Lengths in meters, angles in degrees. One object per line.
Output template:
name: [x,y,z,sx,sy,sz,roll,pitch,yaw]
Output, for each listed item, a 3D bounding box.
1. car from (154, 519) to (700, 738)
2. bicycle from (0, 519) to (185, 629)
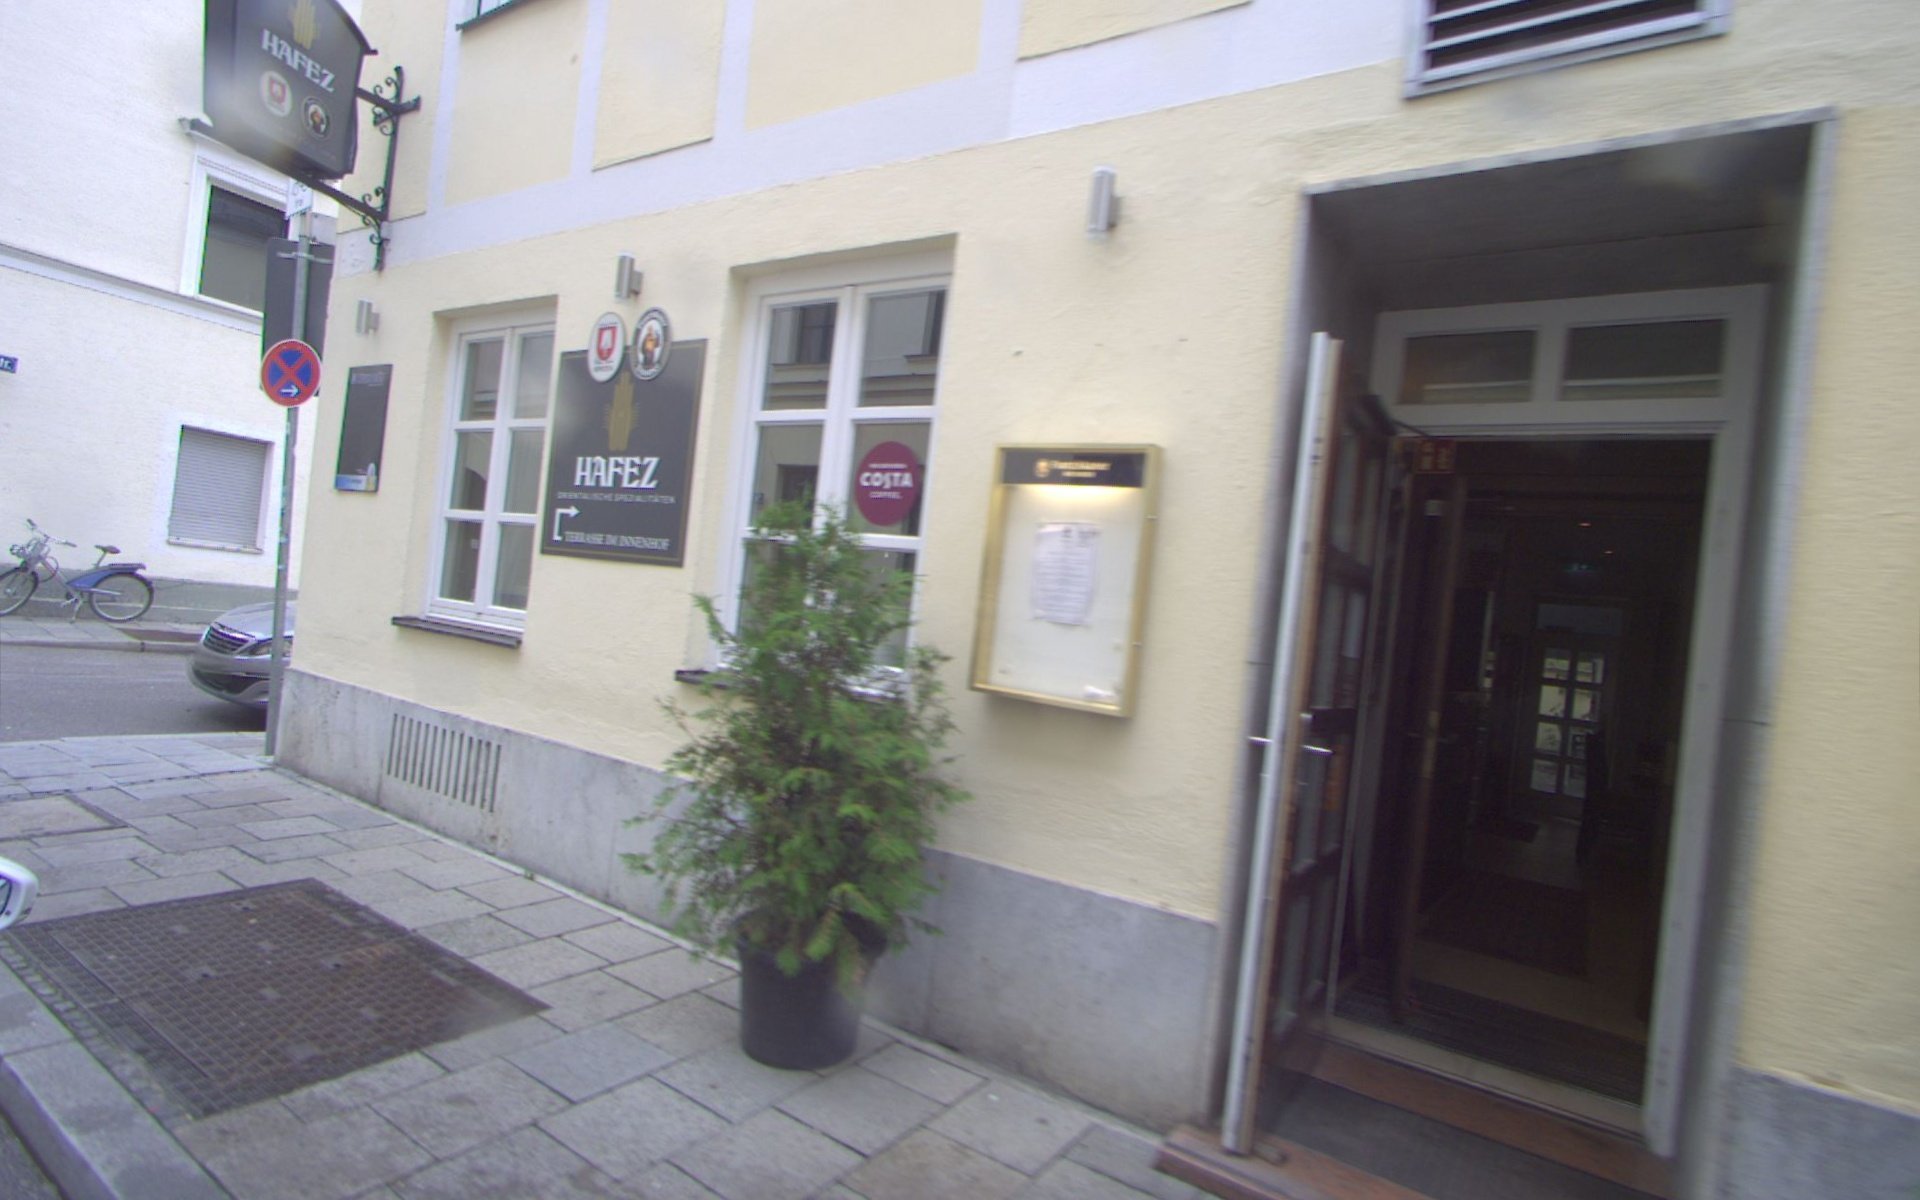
car: [-4.654,0.367,9.350,1.737,1.458,4.018,9,0,36]
bicycle: [-10.921,-0.303,12.596,0.576,1.158,1.758,10,2,34]
